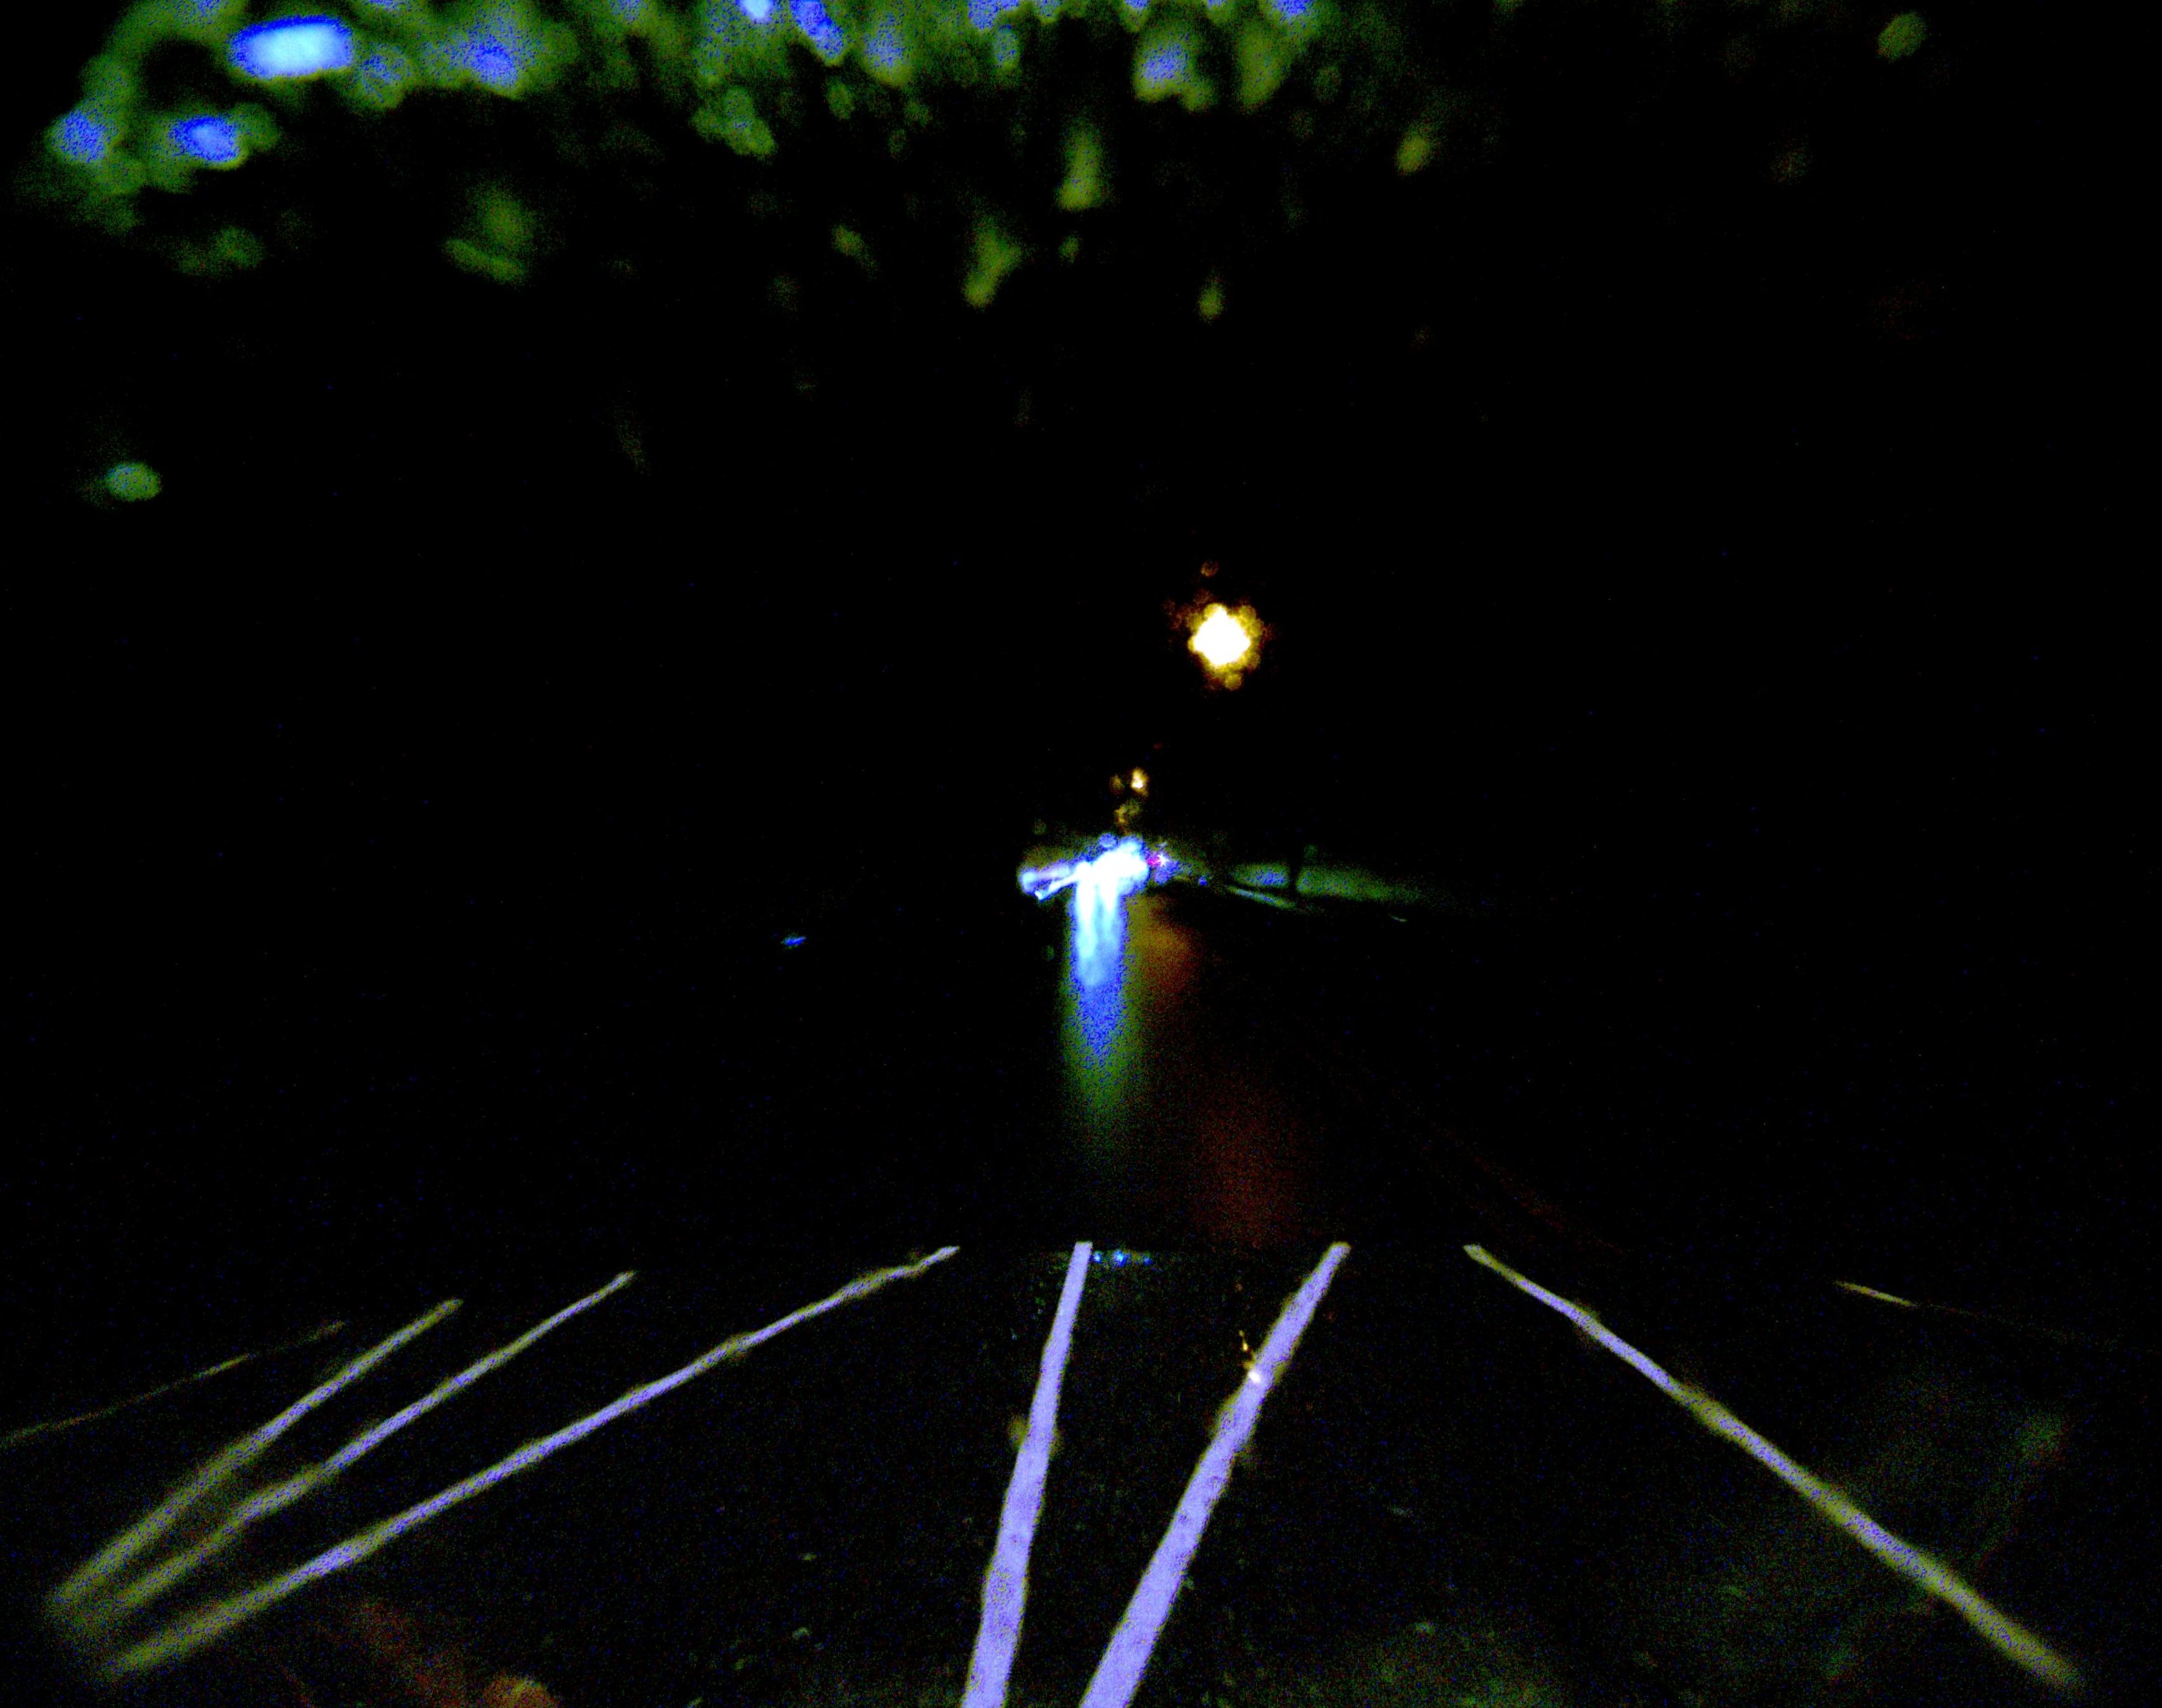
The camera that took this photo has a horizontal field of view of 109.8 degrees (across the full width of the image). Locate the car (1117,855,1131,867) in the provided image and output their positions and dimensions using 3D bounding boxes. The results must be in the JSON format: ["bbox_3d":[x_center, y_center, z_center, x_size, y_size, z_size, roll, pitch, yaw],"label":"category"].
[{"bbox_3d":[6.538,1.057,116.656,1.998,1.576,4.000,-2,0,1],"label":"car"}]

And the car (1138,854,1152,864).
[{"bbox_3d":[10.248,0.782,121.703,1.998,1.576,4.000,-1,1,4],"label":"car"}]

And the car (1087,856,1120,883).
[{"bbox_3d":[1.494,0.987,48.967,1.998,1.576,4.000,-1,1,2],"label":"car"}]

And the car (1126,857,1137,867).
[{"bbox_3d":[9.048,1.451,136.517,1.998,1.576,4.000,-1,1,4],"label":"car"}]

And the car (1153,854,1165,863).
[{"bbox_3d":[14.376,0.893,140.553,1.998,1.576,4.000,-1,1,4],"label":"car"}]
